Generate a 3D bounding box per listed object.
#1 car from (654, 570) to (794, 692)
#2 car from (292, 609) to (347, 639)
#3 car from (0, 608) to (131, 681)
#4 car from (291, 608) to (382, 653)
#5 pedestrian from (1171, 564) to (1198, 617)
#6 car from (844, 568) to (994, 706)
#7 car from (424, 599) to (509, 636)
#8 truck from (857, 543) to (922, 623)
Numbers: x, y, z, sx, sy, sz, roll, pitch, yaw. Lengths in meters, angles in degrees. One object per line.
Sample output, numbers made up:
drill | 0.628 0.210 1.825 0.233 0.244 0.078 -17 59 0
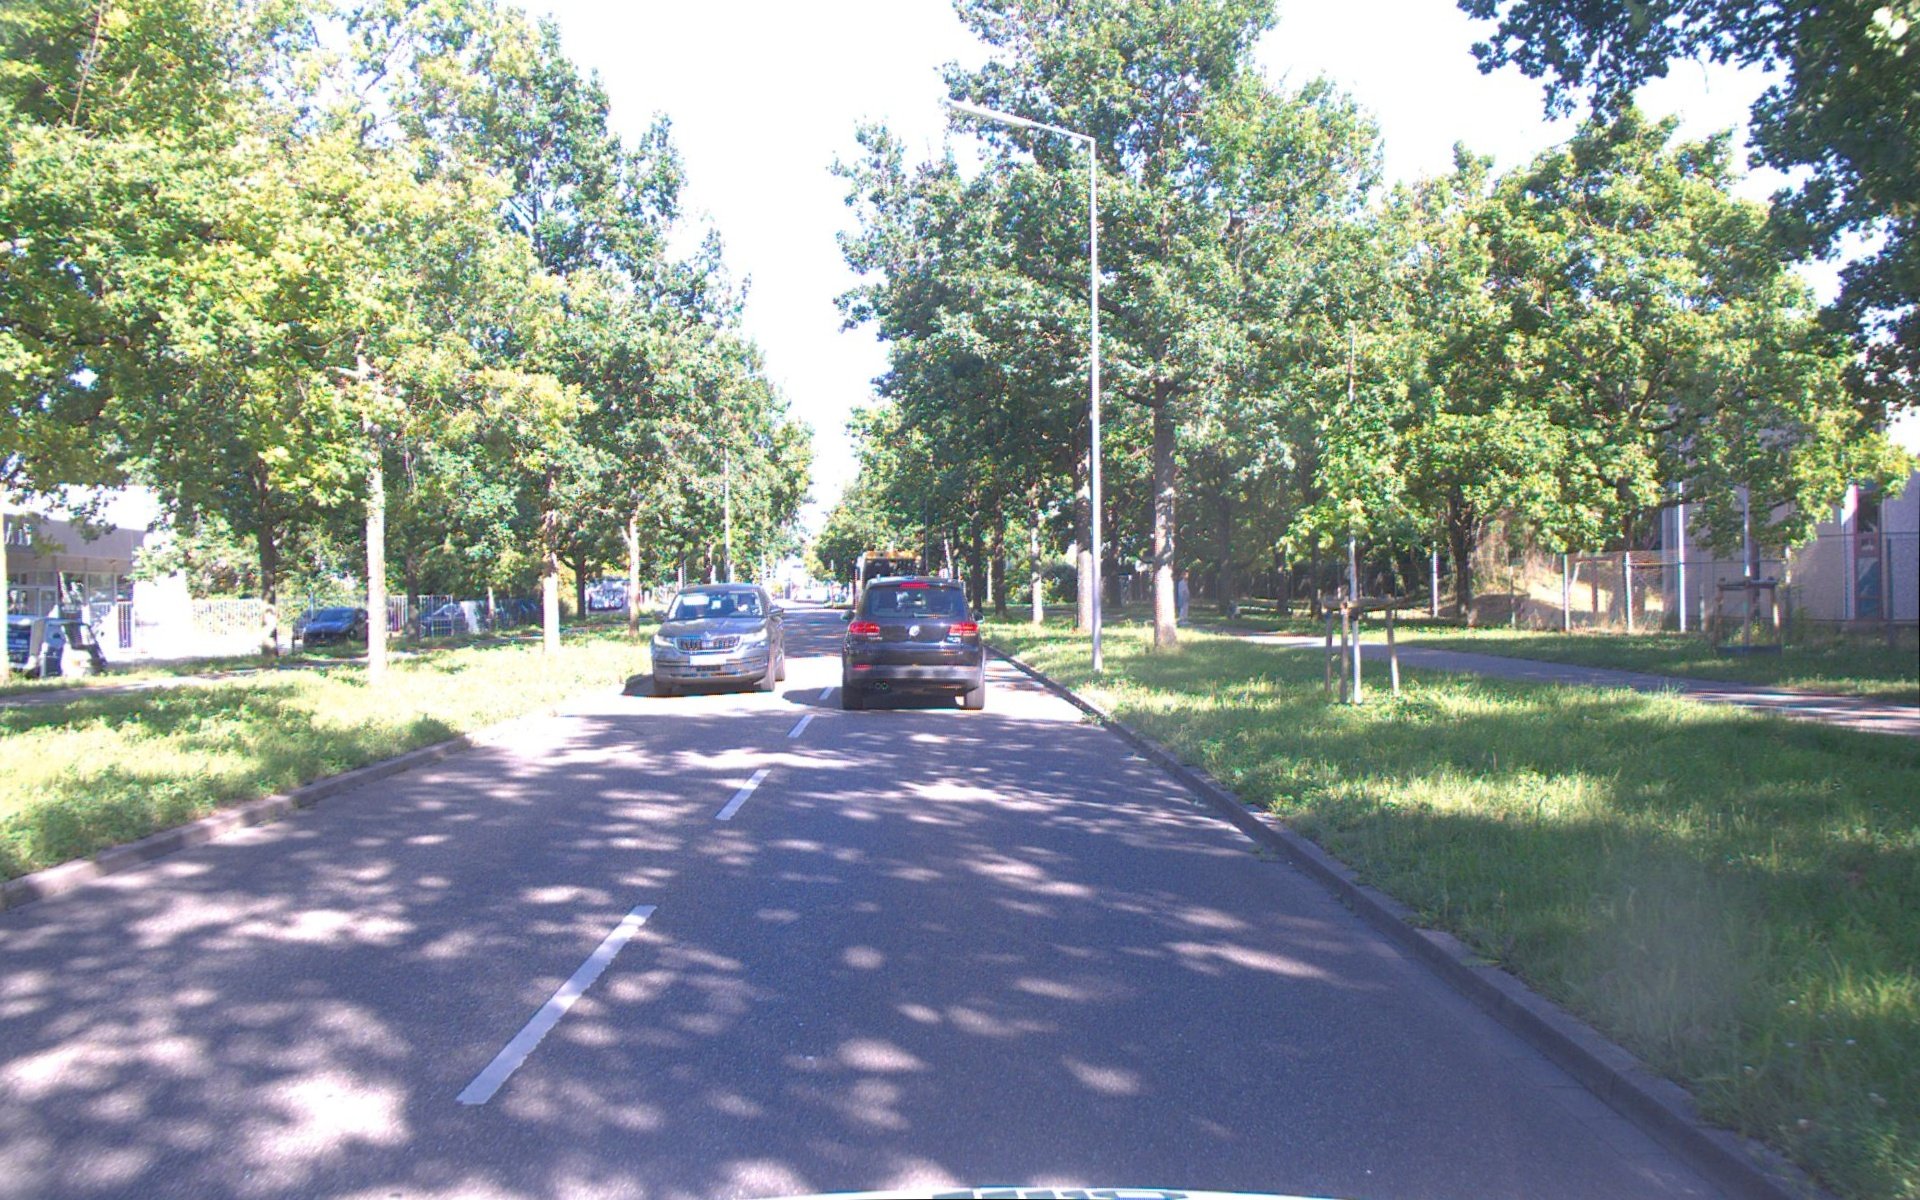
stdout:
car | -3.636 0.443 26.105 1.732 1.701 4.197 -2 0 -3
car | -36.355 1.358 93.933 1.957 1.594 4.874 1 0 -10
car | -19.452 0.956 35.599 2.512 1.495 1.427 -1 0 14
car | -24.438 1.158 65.023 1.954 1.625 5.010 1 0 -4
pedestrian | 7.260 -0.298 53.472 0.701 1.659 0.610 -3 1 14
car | -0.633 0.450 22.044 1.747 1.662 3.996 1 0 -5
car | -25.034 0.896 84.001 3.915 1.833 1.995 1 0 -11
truck | -3.176 -0.733 73.197 2.463 3.300 8.143 -1 0 -5
